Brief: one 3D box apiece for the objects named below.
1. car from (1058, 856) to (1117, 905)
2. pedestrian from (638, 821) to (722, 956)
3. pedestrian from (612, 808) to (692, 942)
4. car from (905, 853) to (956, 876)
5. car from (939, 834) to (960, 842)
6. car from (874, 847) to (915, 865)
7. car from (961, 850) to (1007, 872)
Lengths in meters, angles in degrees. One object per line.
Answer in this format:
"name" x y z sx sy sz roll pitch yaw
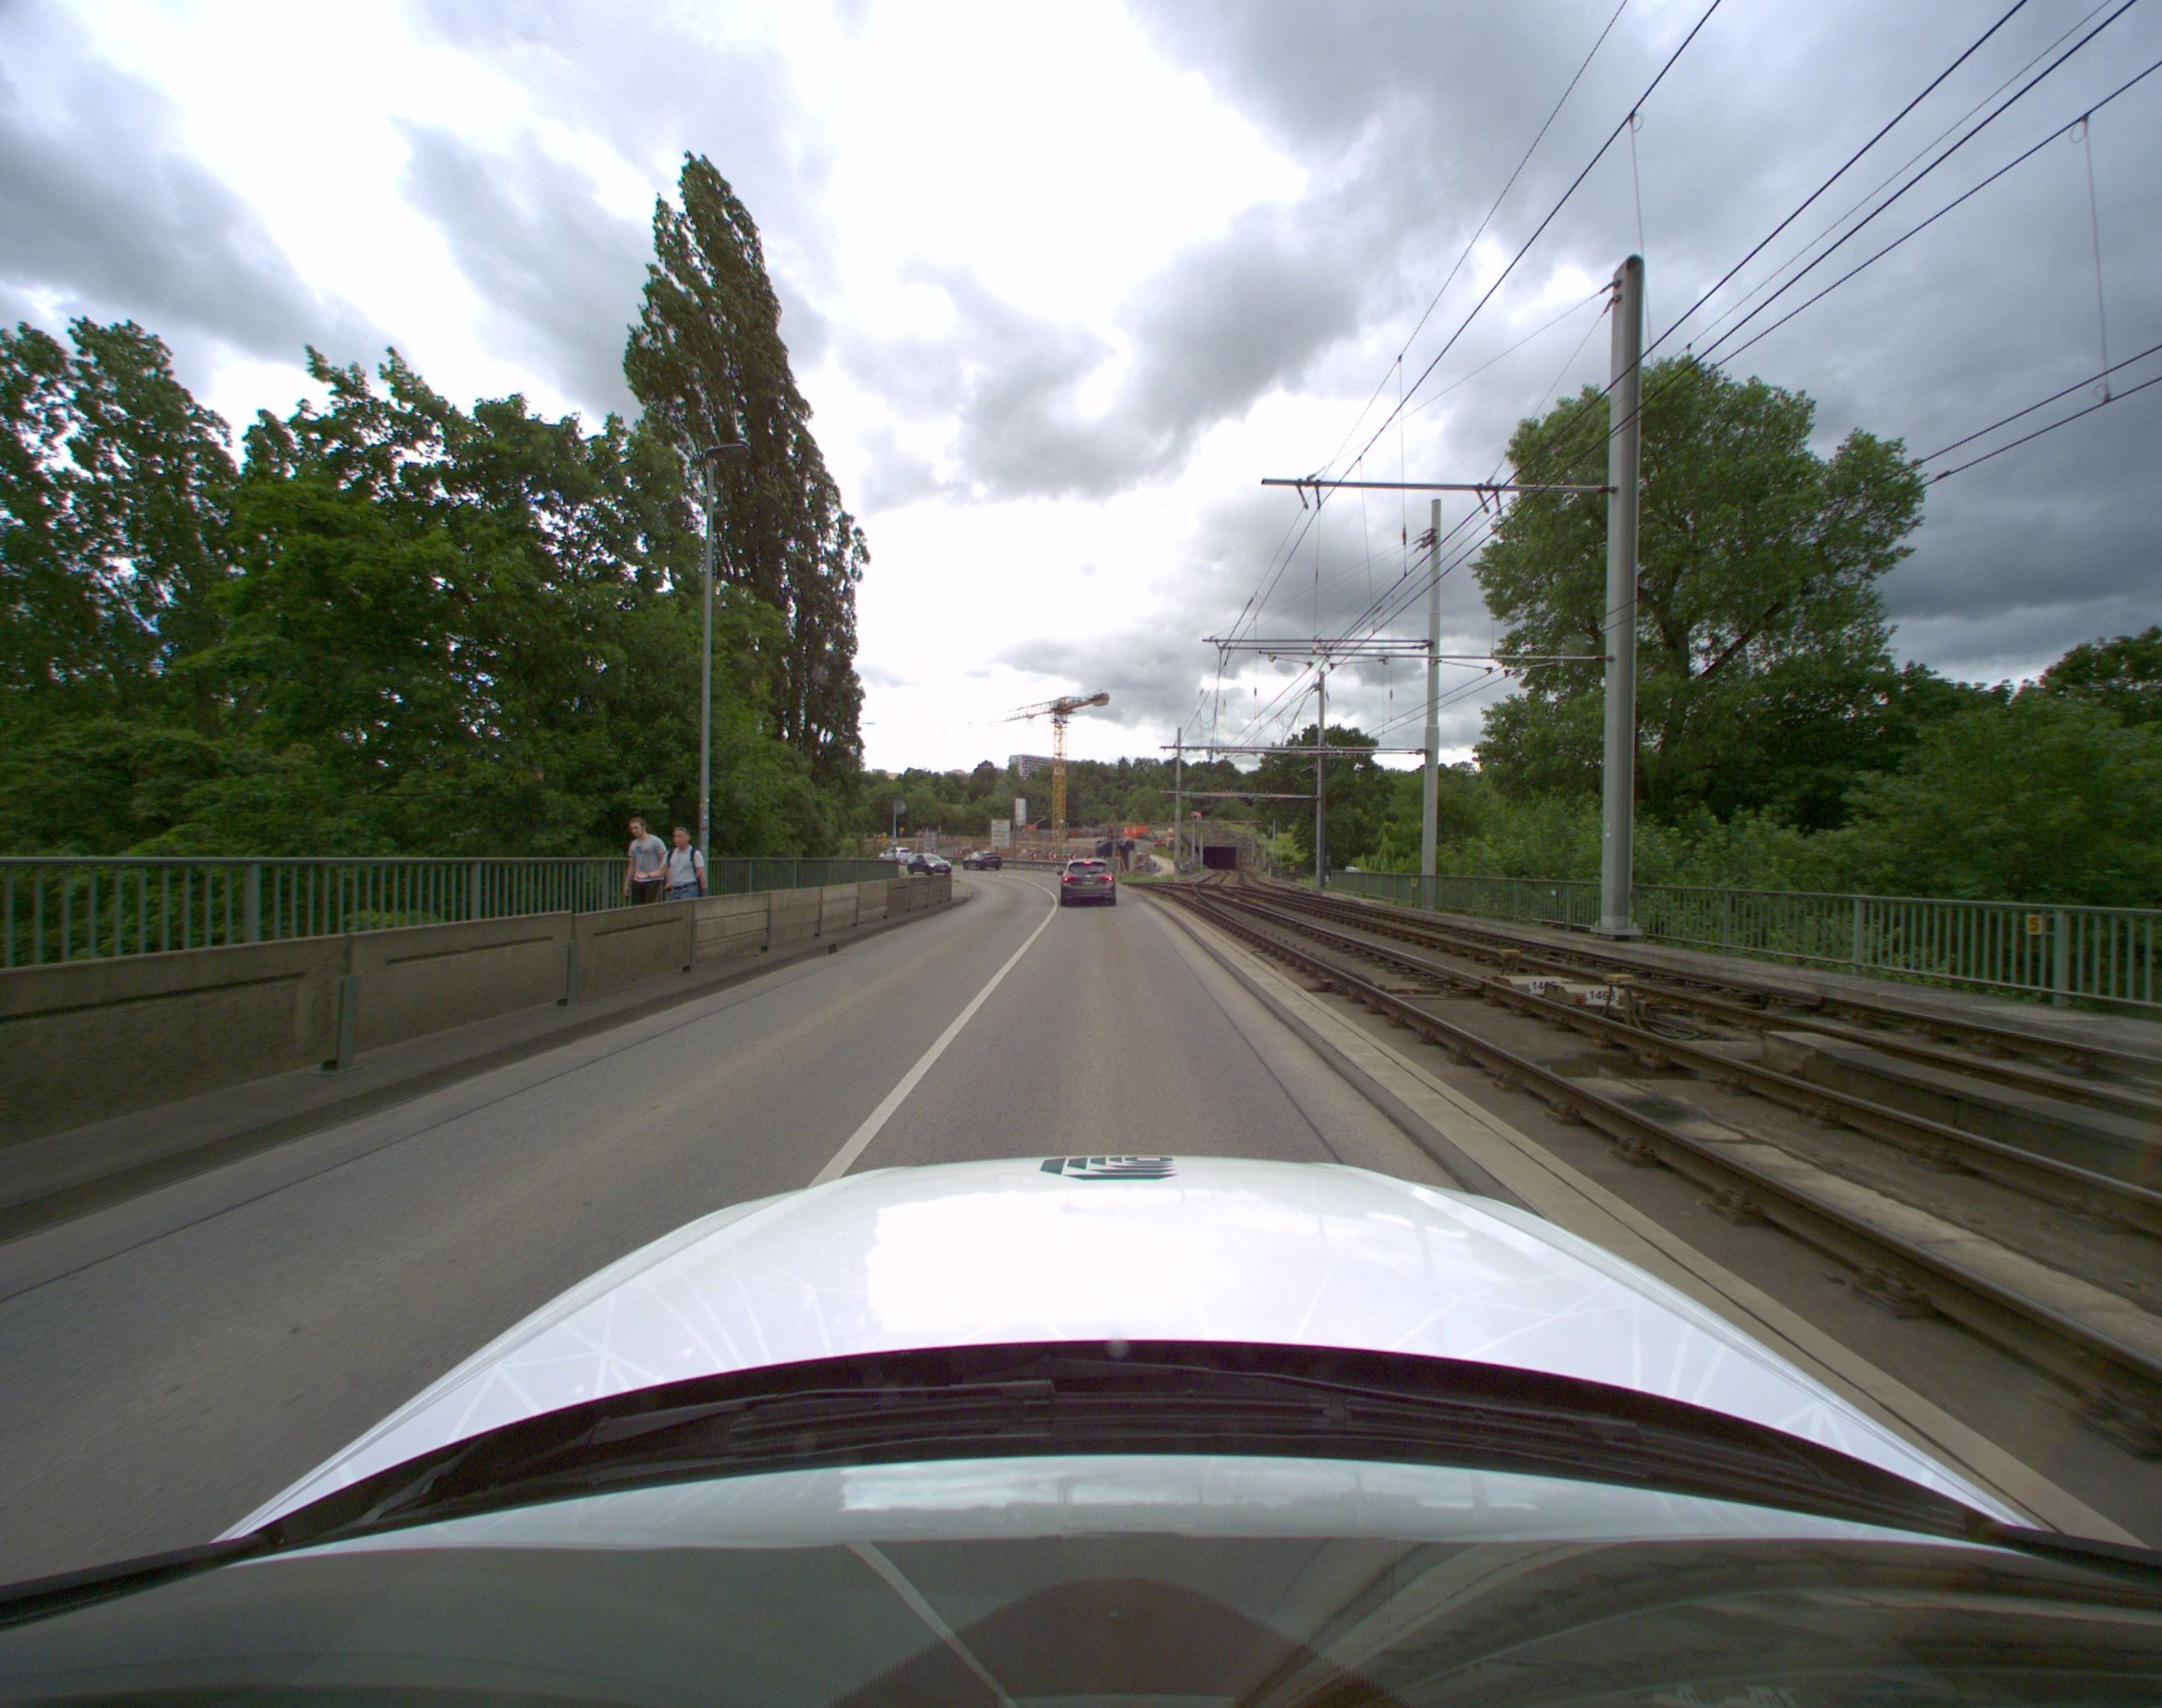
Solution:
"car" 0.275 0.813 27.084 1.822 1.510 4.002 0 0 2
"pedestrian" -5.217 0.433 10.639 0.718 1.701 0.723 0 0 1
"pedestrian" -6.043 0.285 11.492 0.718 1.839 0.723 0 0 1
"car" -10.478 0.725 56.538 1.845 1.510 3.954 -1 0 -39
"car" -26.605 -3.184 164.471 3.950 1.409 1.811 1 -1 28
"car" -17.344 0.161 75.773 4.255 1.606 1.695 0 1 44
"car" -7.697 0.521 64.165 1.693 1.606 4.261 -1 1 -37
